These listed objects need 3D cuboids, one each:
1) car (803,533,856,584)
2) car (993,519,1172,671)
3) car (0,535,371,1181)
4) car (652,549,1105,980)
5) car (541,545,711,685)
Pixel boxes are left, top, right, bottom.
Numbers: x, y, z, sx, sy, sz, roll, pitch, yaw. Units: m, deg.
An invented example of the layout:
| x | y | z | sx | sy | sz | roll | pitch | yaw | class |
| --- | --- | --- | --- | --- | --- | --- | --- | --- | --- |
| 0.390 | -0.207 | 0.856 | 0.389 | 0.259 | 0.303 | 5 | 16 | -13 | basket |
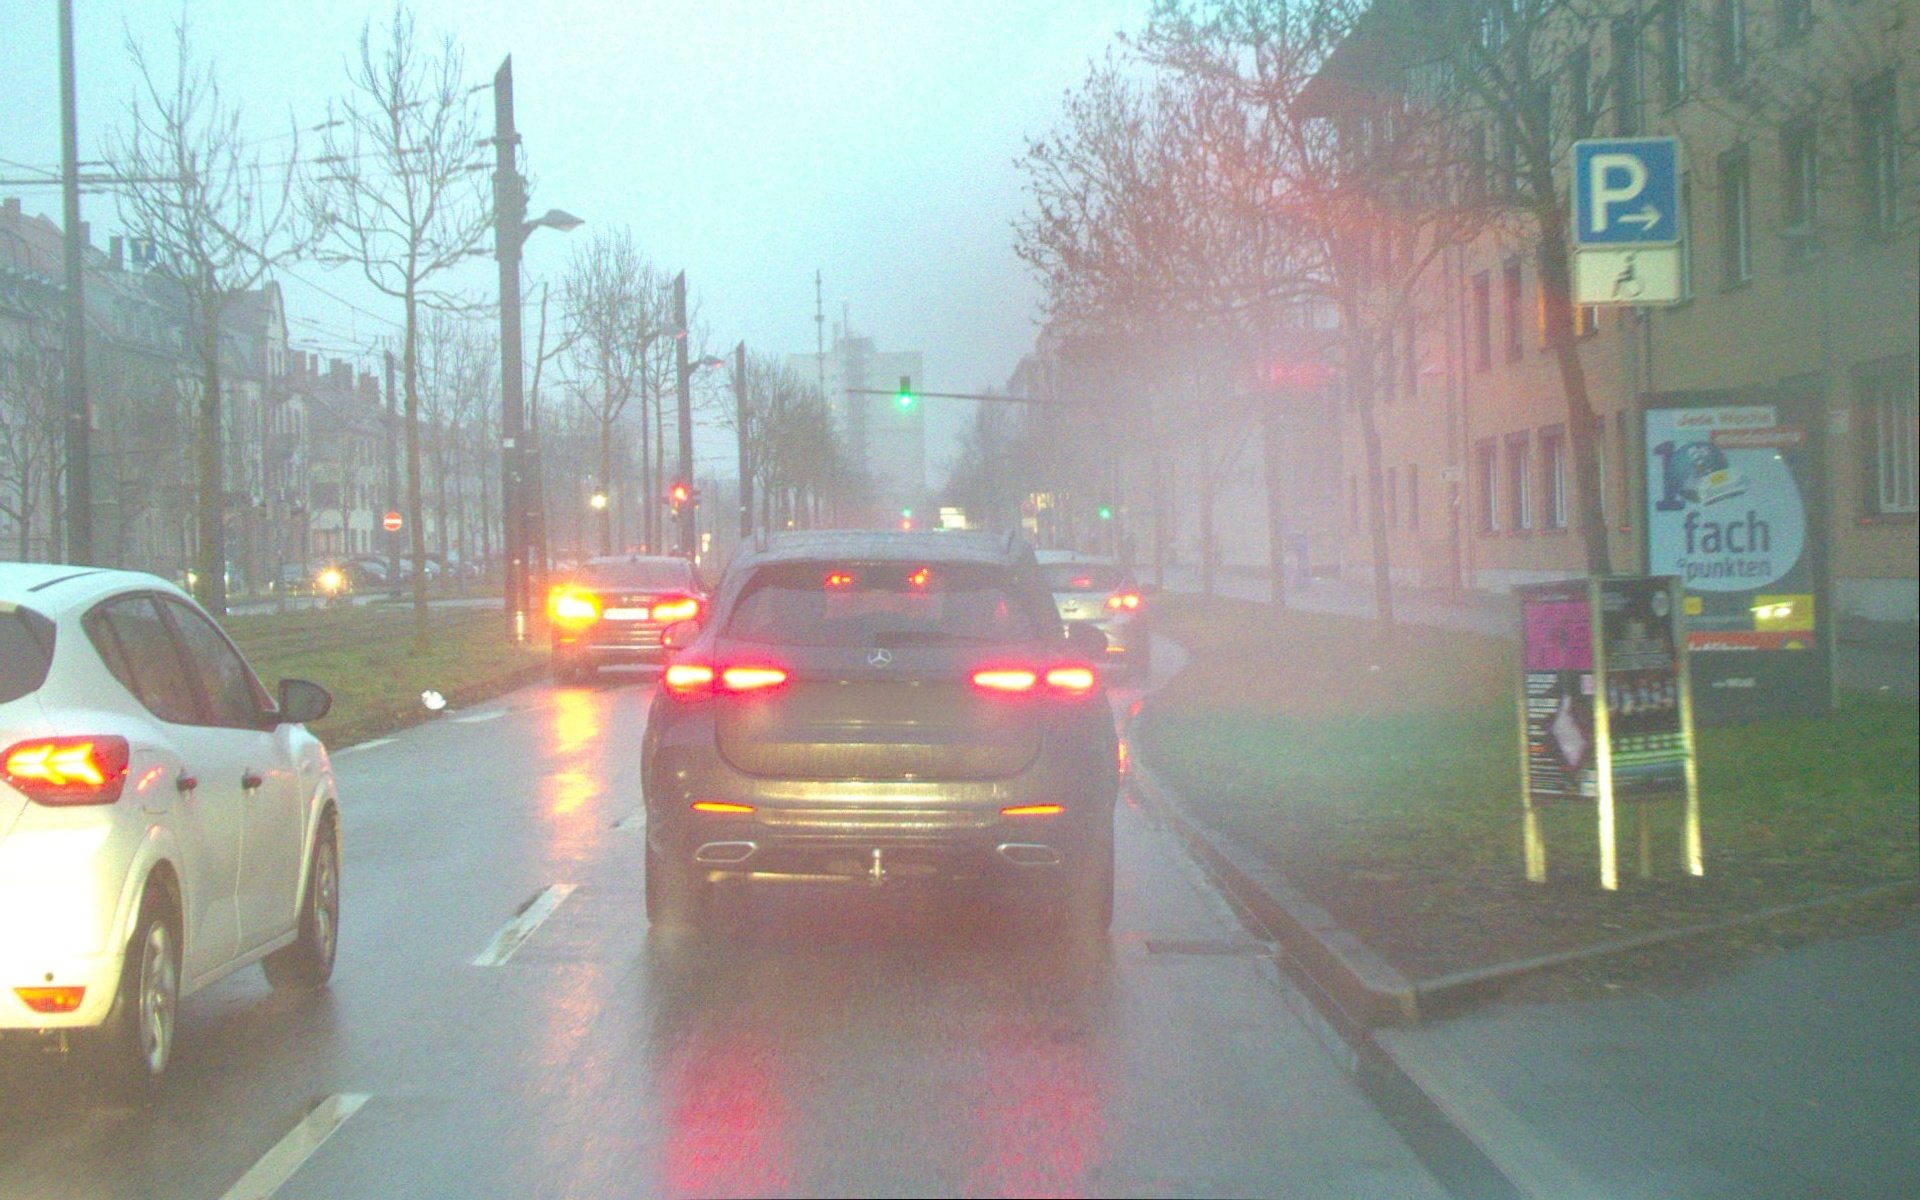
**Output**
| x | y | z | sx | sy | sz | roll | pitch | yaw | class |
| --- | --- | --- | --- | --- | --- | --- | --- | --- | --- |
| -5.201 | -1.669 | 137.176 | 1.993 | 1.908 | 4.000 | -2 | 1 | -2 | car |
| 1.452 | -0.090 | 42.264 | 1.993 | 1.738 | 4.000 | -1 | 1 | 0 | car |
| -2.973 | 0.614 | 10.504 | 1.672 | 1.594 | 4.054 | 0 | 1 | 0 | car |
| -0.316 | 0.584 | 14.775 | 1.672 | 1.594 | 4.054 | 0 | 1 | 0 | car |
| -3.971 | 0.142 | 41.348 | 1.672 | 1.594 | 4.054 | 0 | 1 | 0 | car |
